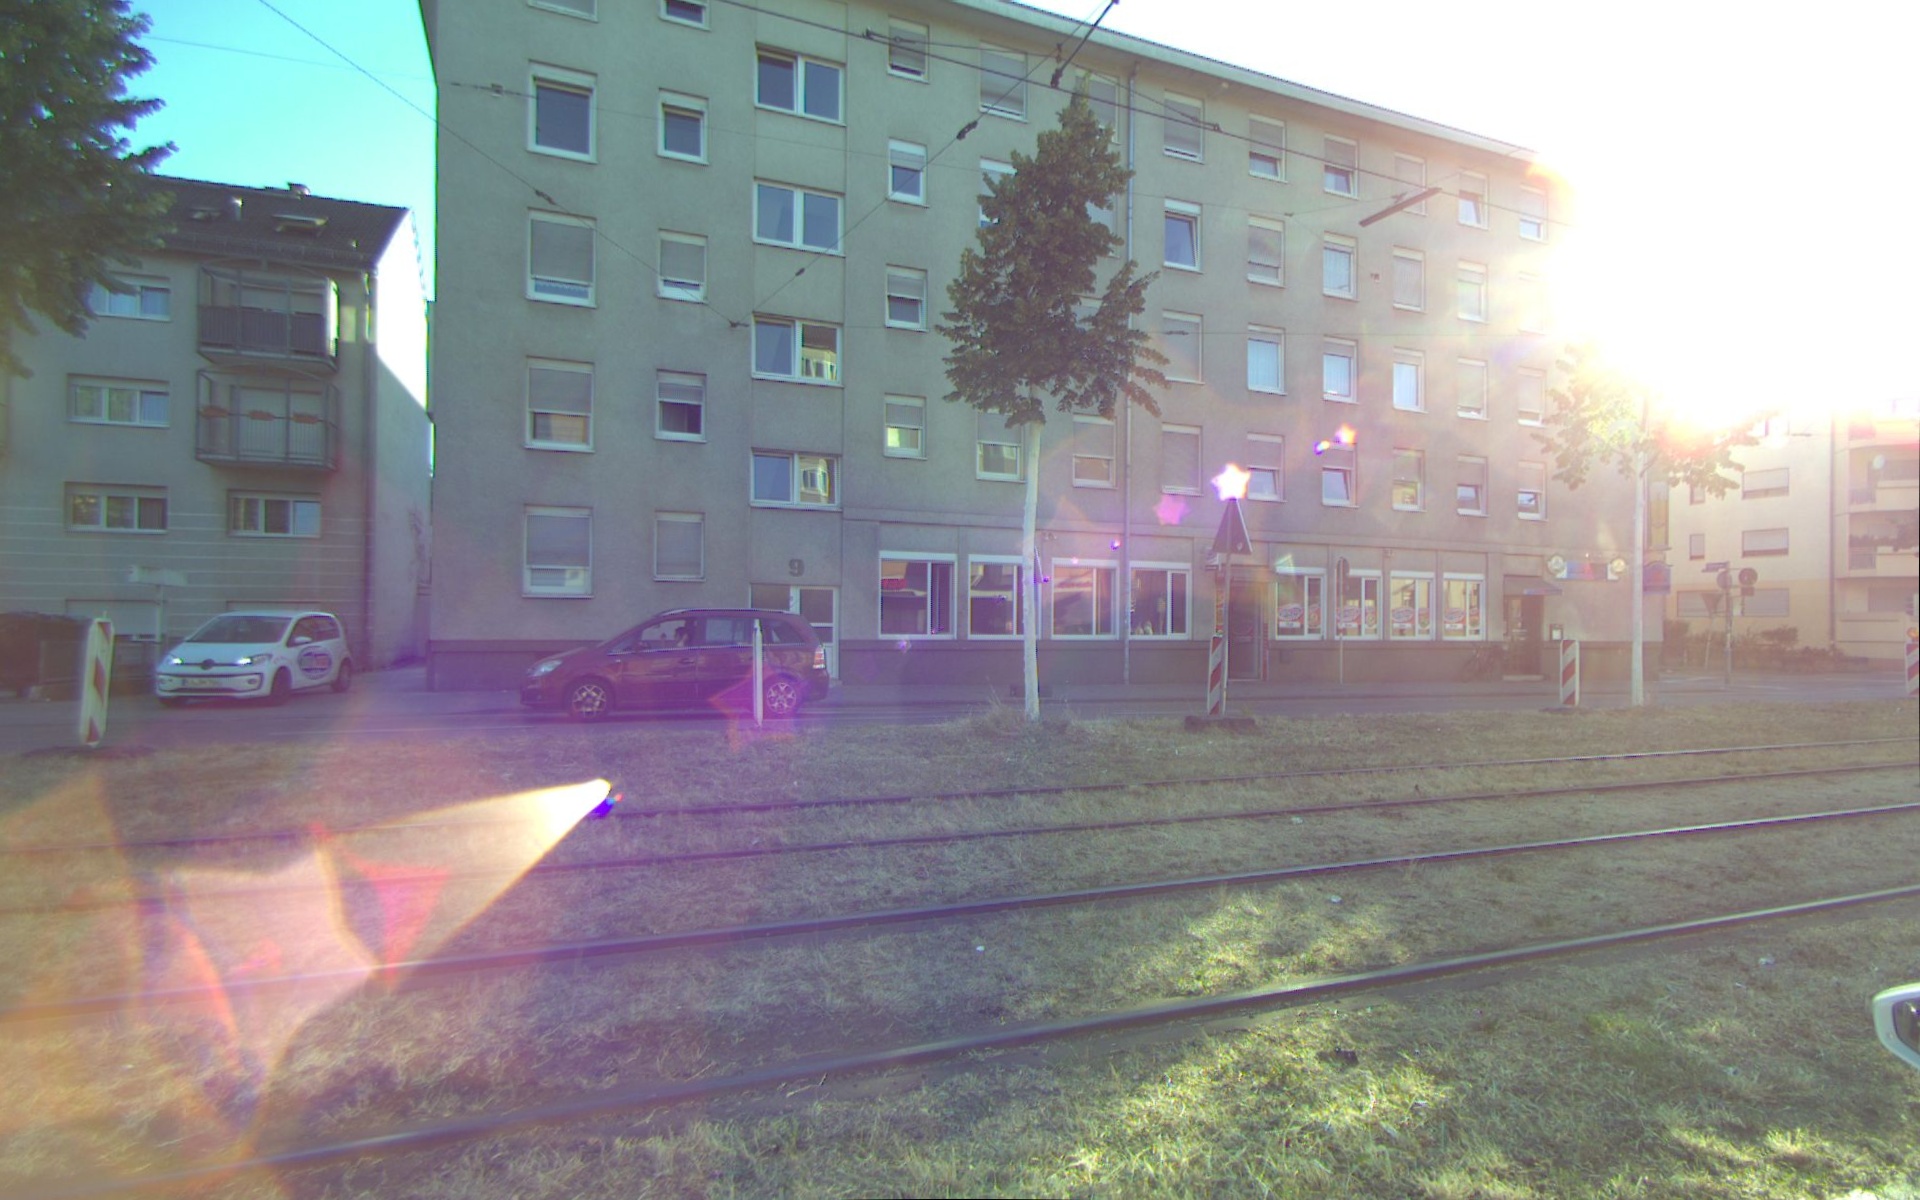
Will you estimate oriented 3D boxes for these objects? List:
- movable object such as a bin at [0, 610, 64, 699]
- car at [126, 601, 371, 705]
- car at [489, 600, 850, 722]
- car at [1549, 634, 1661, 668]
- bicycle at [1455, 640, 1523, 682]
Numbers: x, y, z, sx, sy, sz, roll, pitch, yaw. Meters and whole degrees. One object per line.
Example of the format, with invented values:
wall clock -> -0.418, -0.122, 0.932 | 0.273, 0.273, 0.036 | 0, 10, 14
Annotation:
movable object such as a bin -> -15.131, 0.873, 16.264 | 0.738, 1.419, 0.661 | 1, -1, -24
car -> -11.640, 0.867, 16.795 | 1.785, 1.532, 3.824 | 1, -2, -9
car -> -4.242, 0.902, 14.889 | 4.866, 1.580, 1.807 | 2, -3, -24
car -> 29.378, 2.291, 45.876 | 1.771, 1.458, 3.937 | 2, -2, -32
bicycle -> 14.806, 1.687, 28.092 | 1.753, 1.129, 0.745 | 1, -1, -23
